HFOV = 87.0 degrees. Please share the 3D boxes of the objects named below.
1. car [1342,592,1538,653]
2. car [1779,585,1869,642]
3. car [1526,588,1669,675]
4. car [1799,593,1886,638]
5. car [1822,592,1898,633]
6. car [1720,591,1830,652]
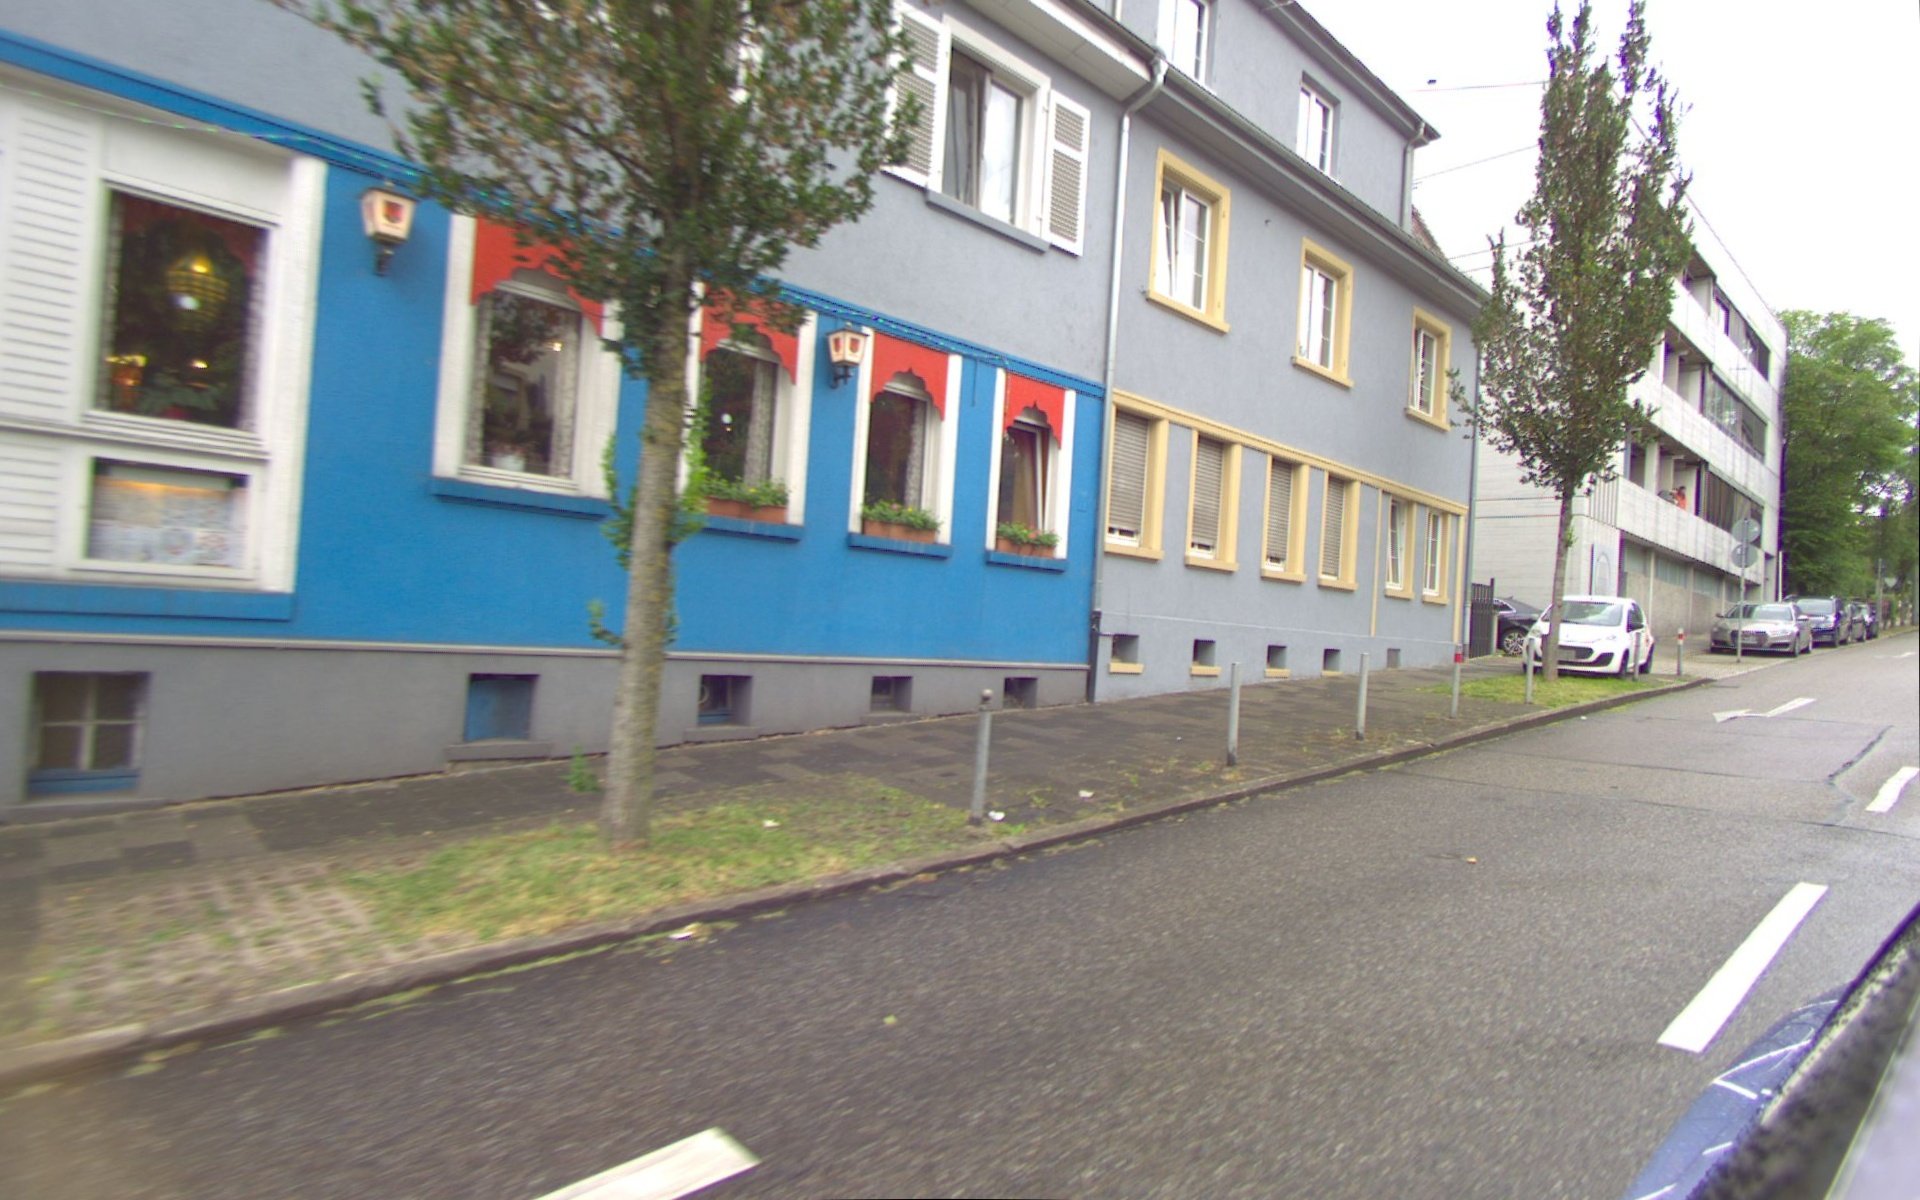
[{"bbox_3d":[12.173,0.506,25.763,4.336,1.425,1.788,0,1,33],"label":"car"},{"bbox_3d":[28.405,0.396,33.236,4.271,1.695,1.747,0,2,-43],"label":"car"},{"bbox_3d":[11.979,0.524,18.937,1.587,1.429,3.401,3,2,44],"label":"car"},{"bbox_3d":[31.908,0.523,36.562,4.023,1.462,1.711,0,2,-39],"label":"car"},{"bbox_3d":[36.005,0.464,40.456,4.086,1.462,1.841,0,3,-43],"label":"car"},{"bbox_3d":[22.657,0.532,28.069,4.664,1.477,1.816,0,2,-44],"label":"car"}]
